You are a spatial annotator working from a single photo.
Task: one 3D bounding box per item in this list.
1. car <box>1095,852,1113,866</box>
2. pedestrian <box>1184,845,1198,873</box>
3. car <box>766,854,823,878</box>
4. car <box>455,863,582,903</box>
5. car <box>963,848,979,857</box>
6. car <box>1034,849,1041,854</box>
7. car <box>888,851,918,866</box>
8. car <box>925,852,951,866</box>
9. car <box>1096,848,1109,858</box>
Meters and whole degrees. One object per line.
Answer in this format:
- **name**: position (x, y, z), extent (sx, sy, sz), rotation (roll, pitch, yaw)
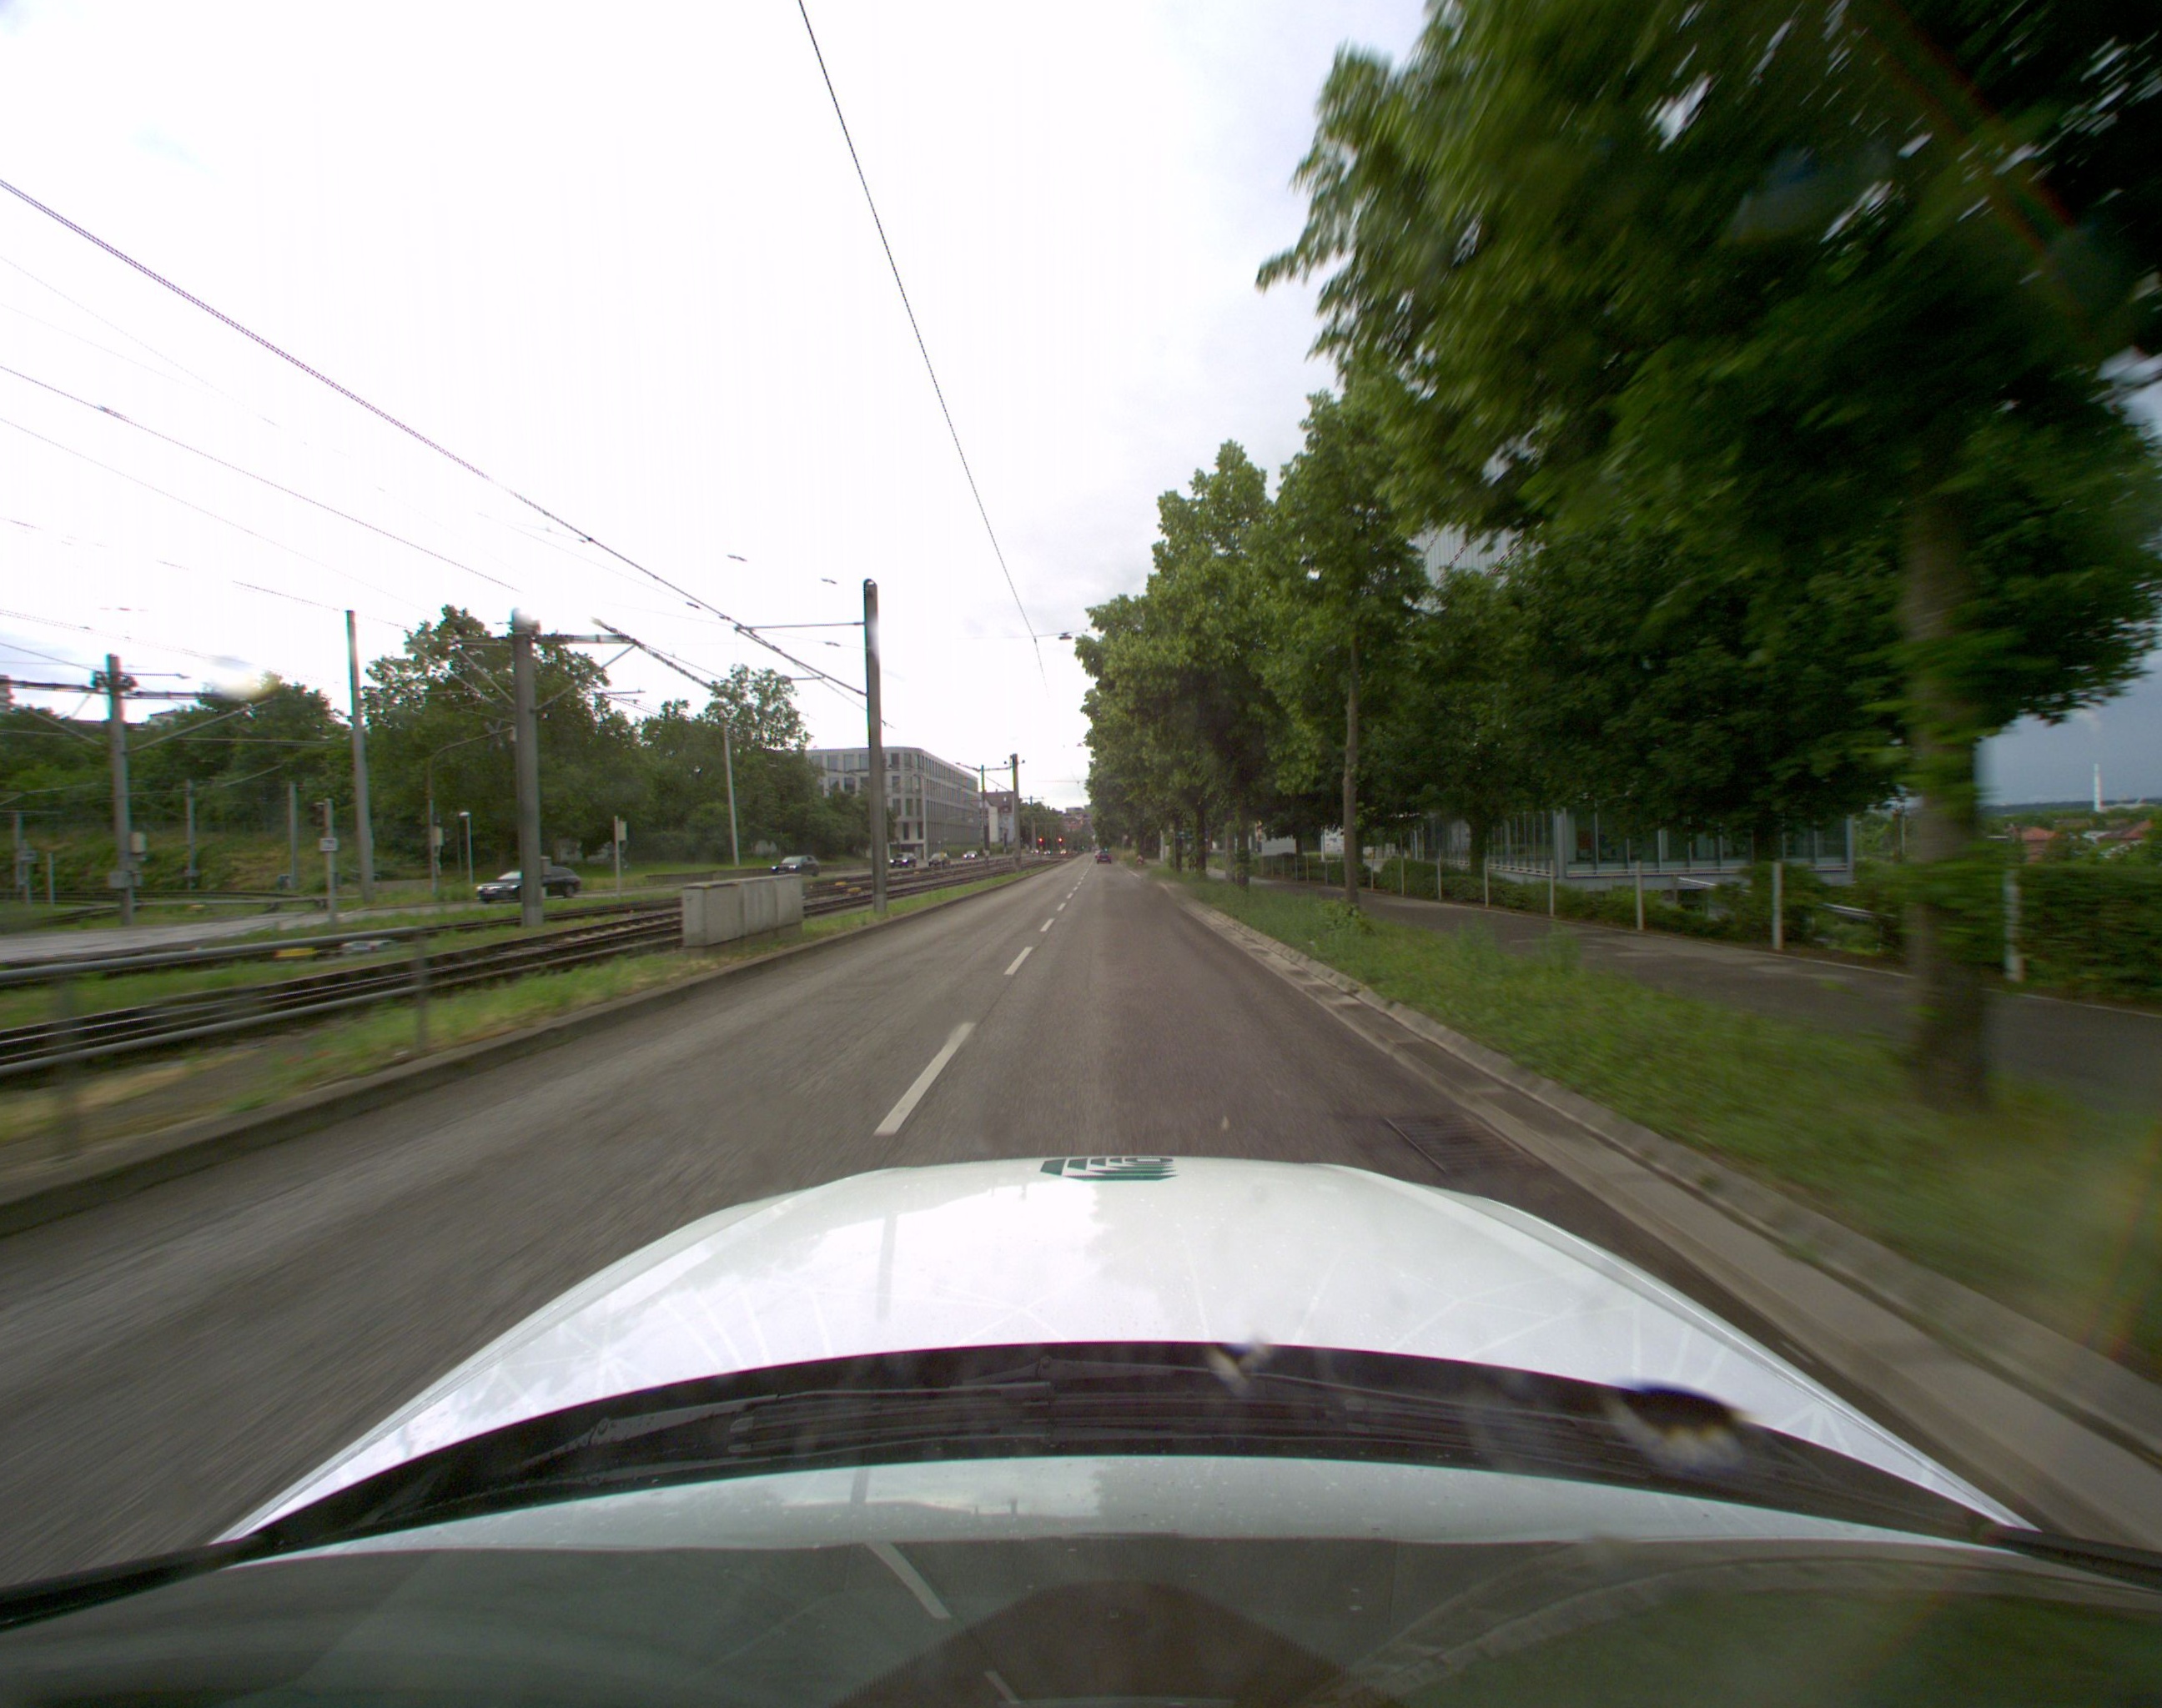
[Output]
- **car**: position (2.632, 0.535, 93.898), extent (1.975, 1.440, 4.476), rotation (-2, 0, 2)
- **pedestrian**: position (7.113, 0.325, 52.792), extent (0.822, 1.797, 0.868), rotation (0, 0, 2)
- **car**: position (-21.508, 0.856, 61.342), extent (2.080, 1.589, 5.165), rotation (-2, 0, 4)
- **car**: position (-23.911, 1.188, 34.895), extent (1.918, 1.446, 4.687), rotation (-2, 0, 4)
- **car**: position (-17.395, -0.201, 128.802), extent (1.753, 1.397, 3.905), rotation (-2, 0, 4)
- **car**: position (-11.706, -0.767, 219.464), extent (1.750, 1.244, 3.989), rotation (-2, 0, 2)
- **car**: position (-19.324, 0.462, 88.421), extent (1.940, 1.595, 4.850), rotation (-2, 0, 2)
- **car**: position (-16.283, 0.508, 93.185), extent (1.882, 1.486, 4.313), rotation (-2, 0, 4)
- **car**: position (3.366, -0.125, 128.828), extent (1.975, 1.440, 4.476), rotation (-2, 0, 2)
